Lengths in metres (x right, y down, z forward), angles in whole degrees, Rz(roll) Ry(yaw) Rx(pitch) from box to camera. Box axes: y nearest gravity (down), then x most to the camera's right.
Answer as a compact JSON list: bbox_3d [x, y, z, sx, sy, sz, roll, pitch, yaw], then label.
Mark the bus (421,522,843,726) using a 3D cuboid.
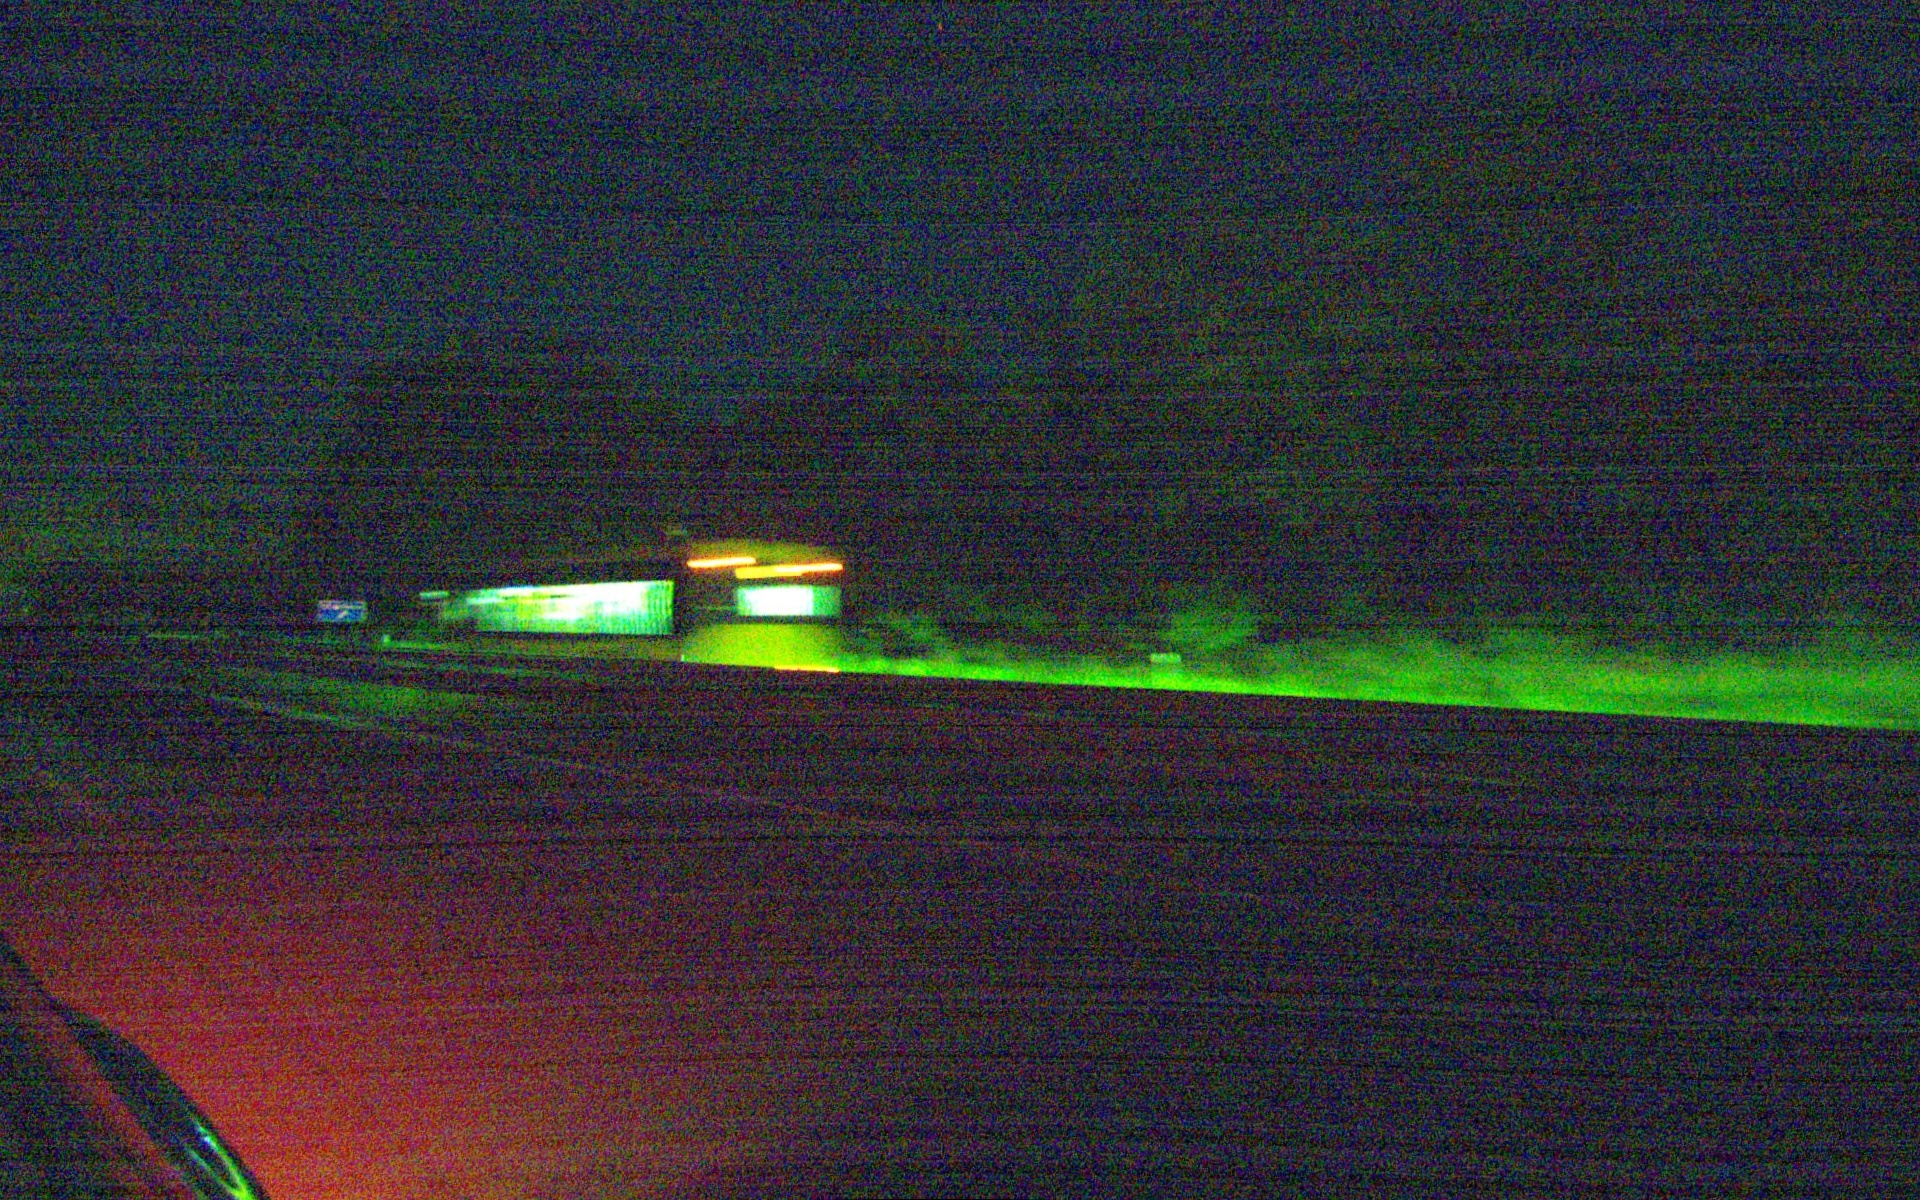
[{"bbox_3d":[-7.779,0.557,22.077,12.301,3.413,2.893,-2,-2,41],"label":"bus"}]
